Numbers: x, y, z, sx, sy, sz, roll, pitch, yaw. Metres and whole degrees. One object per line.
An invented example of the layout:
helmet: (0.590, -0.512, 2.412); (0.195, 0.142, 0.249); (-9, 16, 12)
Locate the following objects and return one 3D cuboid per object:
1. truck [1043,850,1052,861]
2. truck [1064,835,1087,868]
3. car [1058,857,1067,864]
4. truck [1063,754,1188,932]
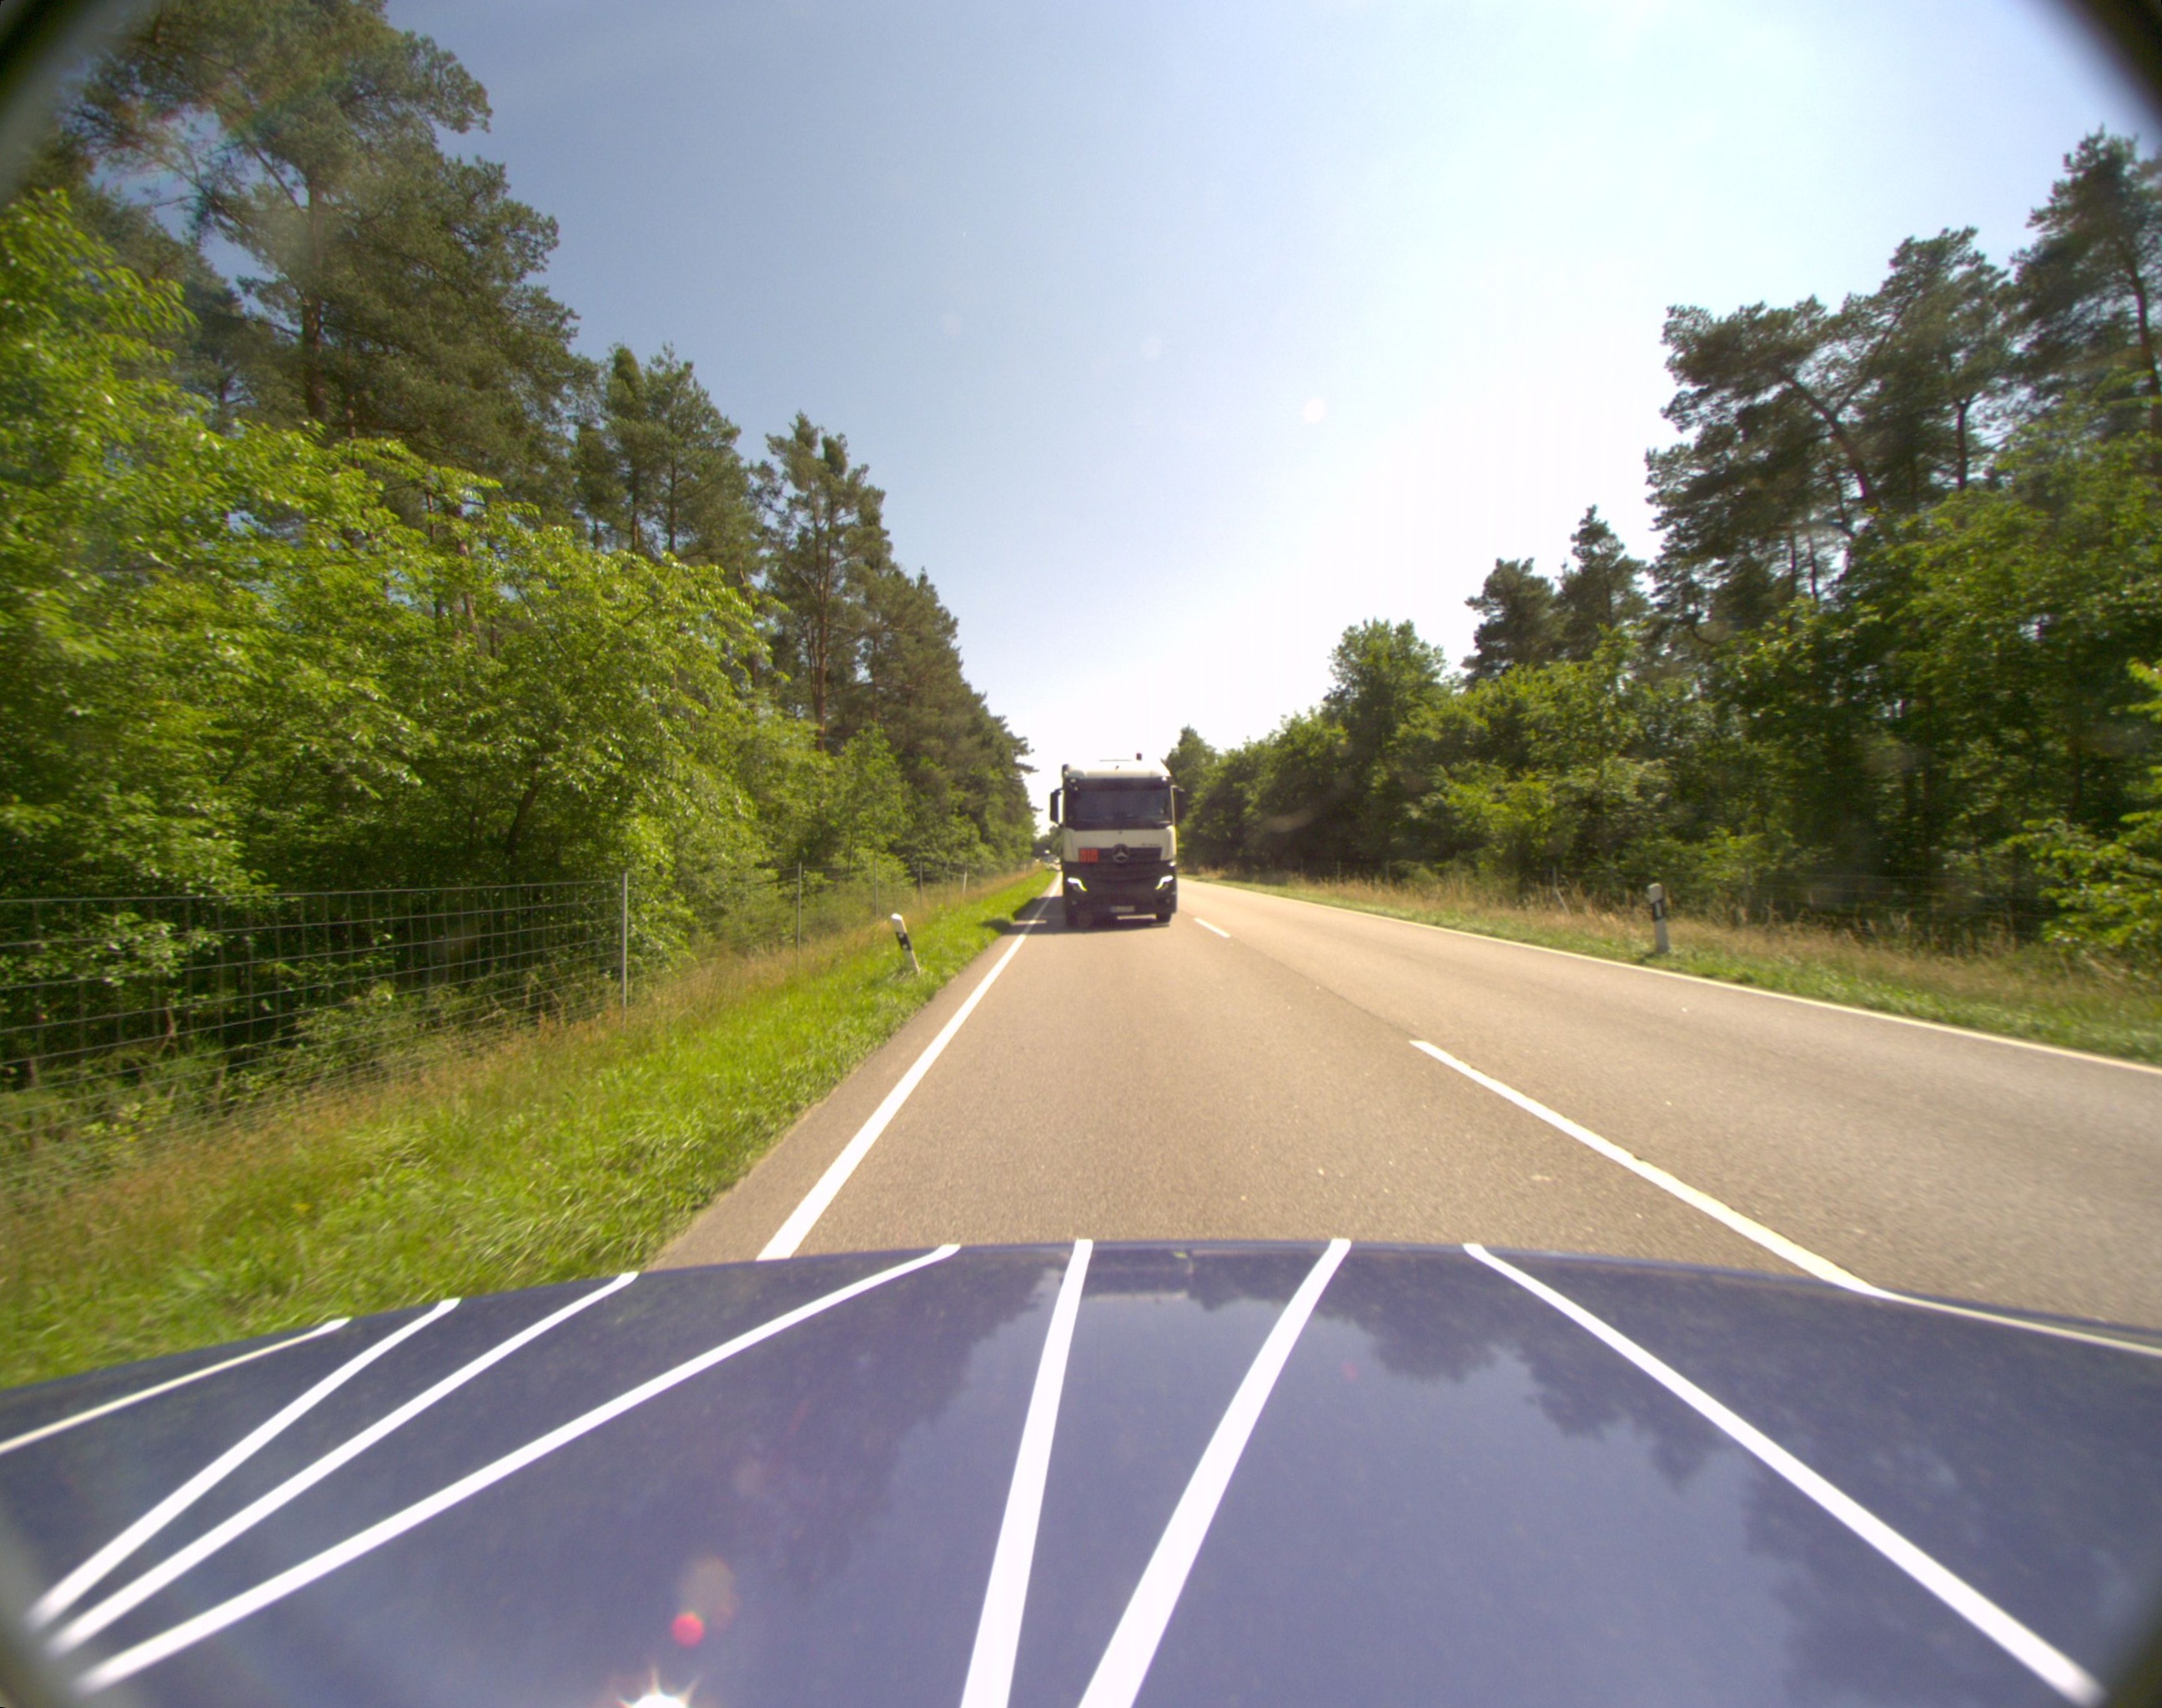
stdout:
truck: (-10.757, 0.527, 245.228); (2.495, 3.619, 6.099); (-1, 0, -7)
truck: (-0.627, -0.283, 90.760); (2.494, 3.618, 6.103); (-2, 0, 0)
car: (-3.973, 1.428, 162.549); (1.885, 1.461, 3.999); (-1, 0, -3)
truck: (0.854, -0.214, 19.188); (2.435, 3.672, 6.455); (-1, 0, -2)
